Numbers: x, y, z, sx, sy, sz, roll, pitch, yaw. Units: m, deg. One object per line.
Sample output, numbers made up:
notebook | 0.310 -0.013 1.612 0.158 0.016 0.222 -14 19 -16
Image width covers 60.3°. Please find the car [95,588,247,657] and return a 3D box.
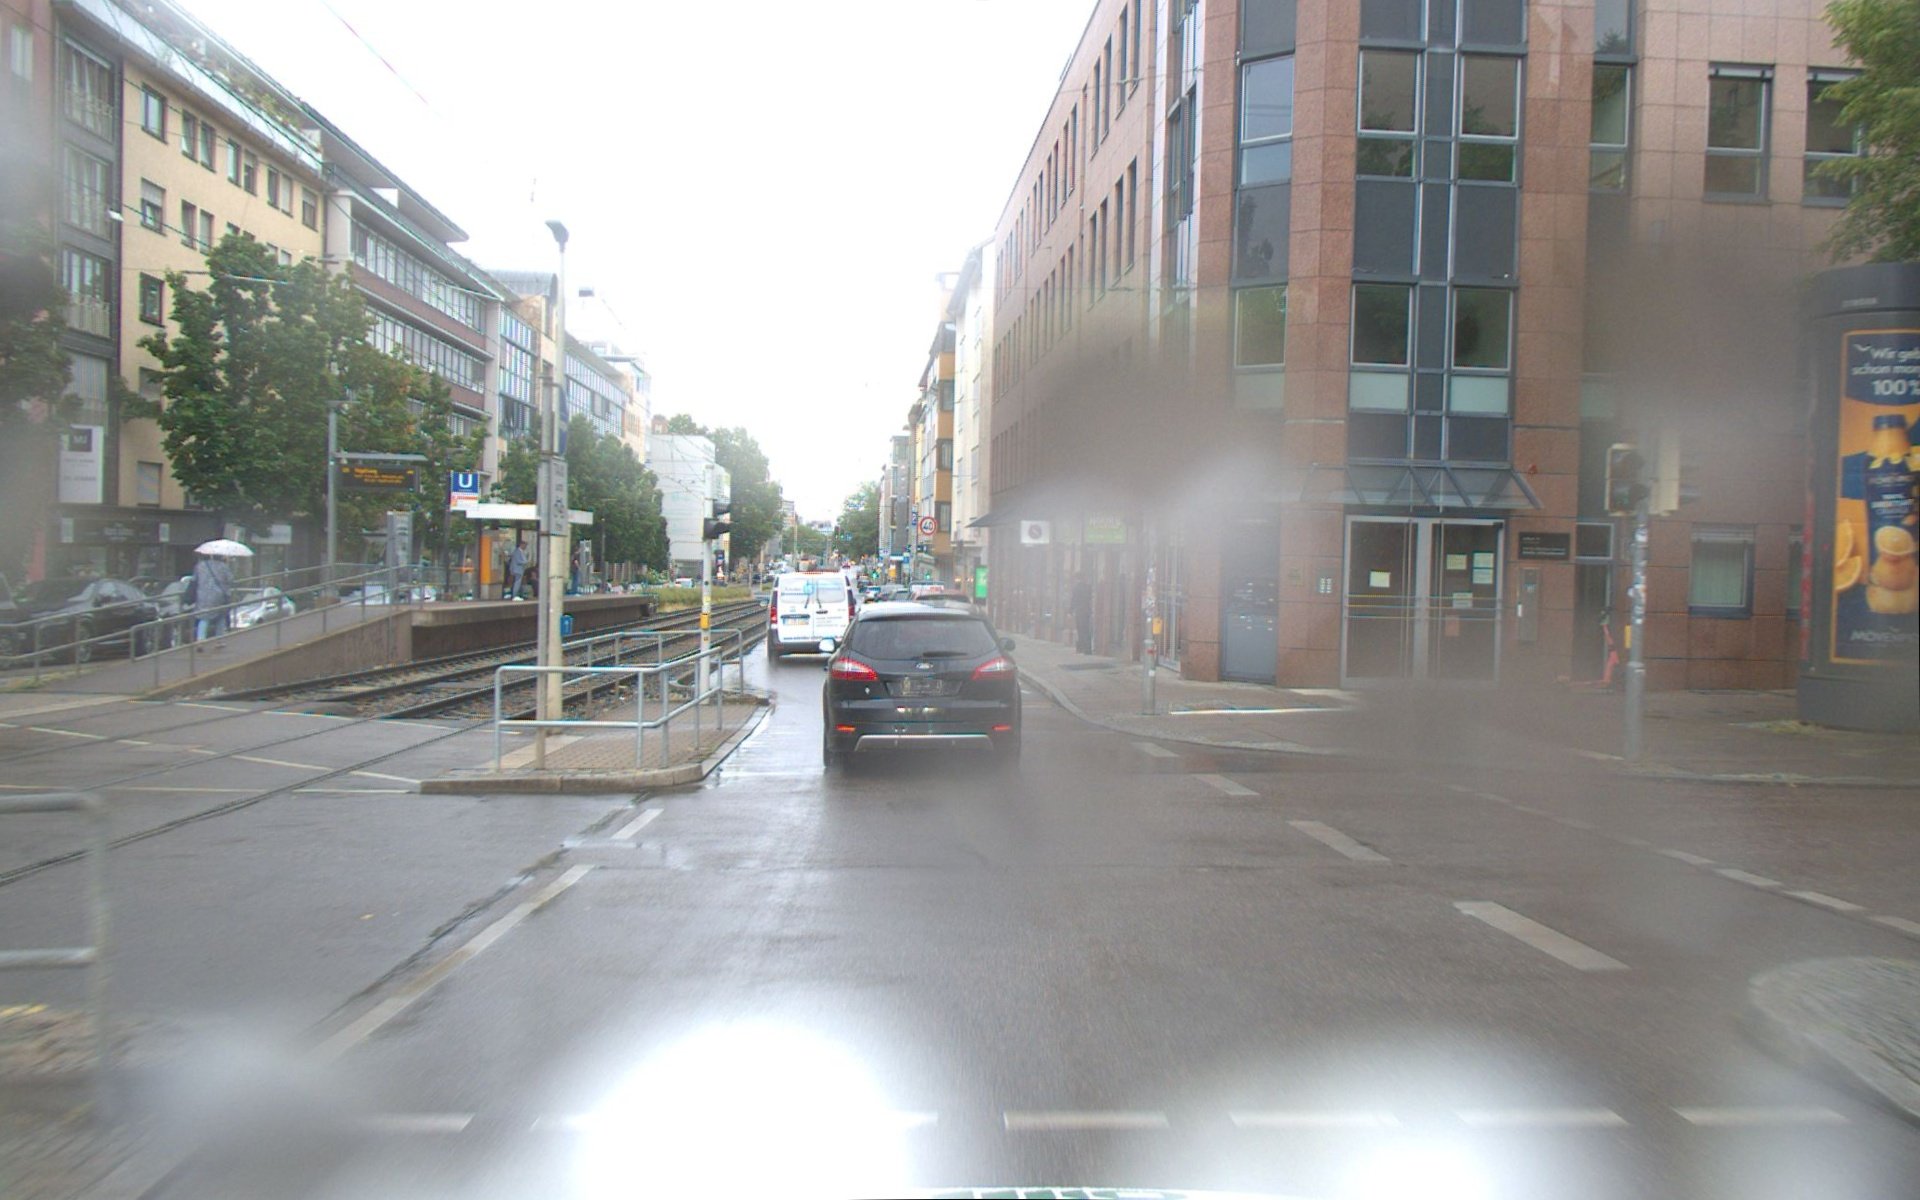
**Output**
car | -17.819 0.473 37.554 1.806 1.461 4.313 0 0 -7

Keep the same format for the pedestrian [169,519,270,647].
pedestrian | -12.165 -0.267 27.222 1.094 2.049 1.382 0 -1 -4

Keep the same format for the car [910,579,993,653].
car | -0.230 0.352 36.663 1.664 1.505 3.865 -2 0 -3

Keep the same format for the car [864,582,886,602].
car | -7.455 -0.717 145.209 1.868 1.662 4.571 1 0 -3

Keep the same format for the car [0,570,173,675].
car | -17.029 0.407 32.132 1.768 1.891 4.374 0 0 -6

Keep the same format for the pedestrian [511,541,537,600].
pedestrian | -13.077 -0.877 49.622 0.643 1.741 0.849 0 0 -6

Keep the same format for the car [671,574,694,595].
car | -25.666 -1.435 153.028 1.870 1.897 4.566 1 0 -7

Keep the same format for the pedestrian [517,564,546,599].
pedestrian | -13.955 -0.603 53.874 0.877 1.143 0.847 0 0 -15

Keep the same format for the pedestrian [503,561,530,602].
pedestrian | -13.899 -0.591 51.865 0.679 1.271 0.883 0 0 -6

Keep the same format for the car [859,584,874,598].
car | -11.721 -1.083 207.003 1.868 1.662 4.571 1 0 -3

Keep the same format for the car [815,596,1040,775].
car | -0.366 0.730 15.552 1.869 1.488 3.442 1 0 -4

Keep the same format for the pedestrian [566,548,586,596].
pedestrian | -14.597 -1.057 62.857 0.643 1.833 0.849 0 0 -6

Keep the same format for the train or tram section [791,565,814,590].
train or tram section | -25.198 -3.589 263.616 3.446 3.843 11.316 0 0 -6

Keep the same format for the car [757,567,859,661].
car | -3.391 0.301 36.186 1.872 1.897 4.563 1 0 -10

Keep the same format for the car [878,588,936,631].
car | -1.927 0.317 58.847 1.740 1.494 4.603 0 0 -6

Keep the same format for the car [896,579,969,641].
car | -0.743 0.257 42.343 1.665 1.488 3.864 -2 0 -3

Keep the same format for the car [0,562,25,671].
car | -17.307 0.284 27.299 1.674 1.891 4.315 0 0 -6

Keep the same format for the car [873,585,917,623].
car | -2.954 0.172 73.989 1.772 1.660 5.165 0 0 -4

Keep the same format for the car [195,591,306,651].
car | -17.999 0.505 42.120 1.538 1.461 3.973 0 0 -7

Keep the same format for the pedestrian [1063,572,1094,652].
pedestrian | 2.521 0.249 35.303 0.590 1.688 0.625 0 -1 -4

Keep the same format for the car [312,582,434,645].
car | -15.907 0.342 45.066 1.771 1.605 5.017 0 0 -3

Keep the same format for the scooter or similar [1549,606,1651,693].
scooter or similar | 9.236 0.715 23.887 1.346 1.248 0.325 0 -1 -1
